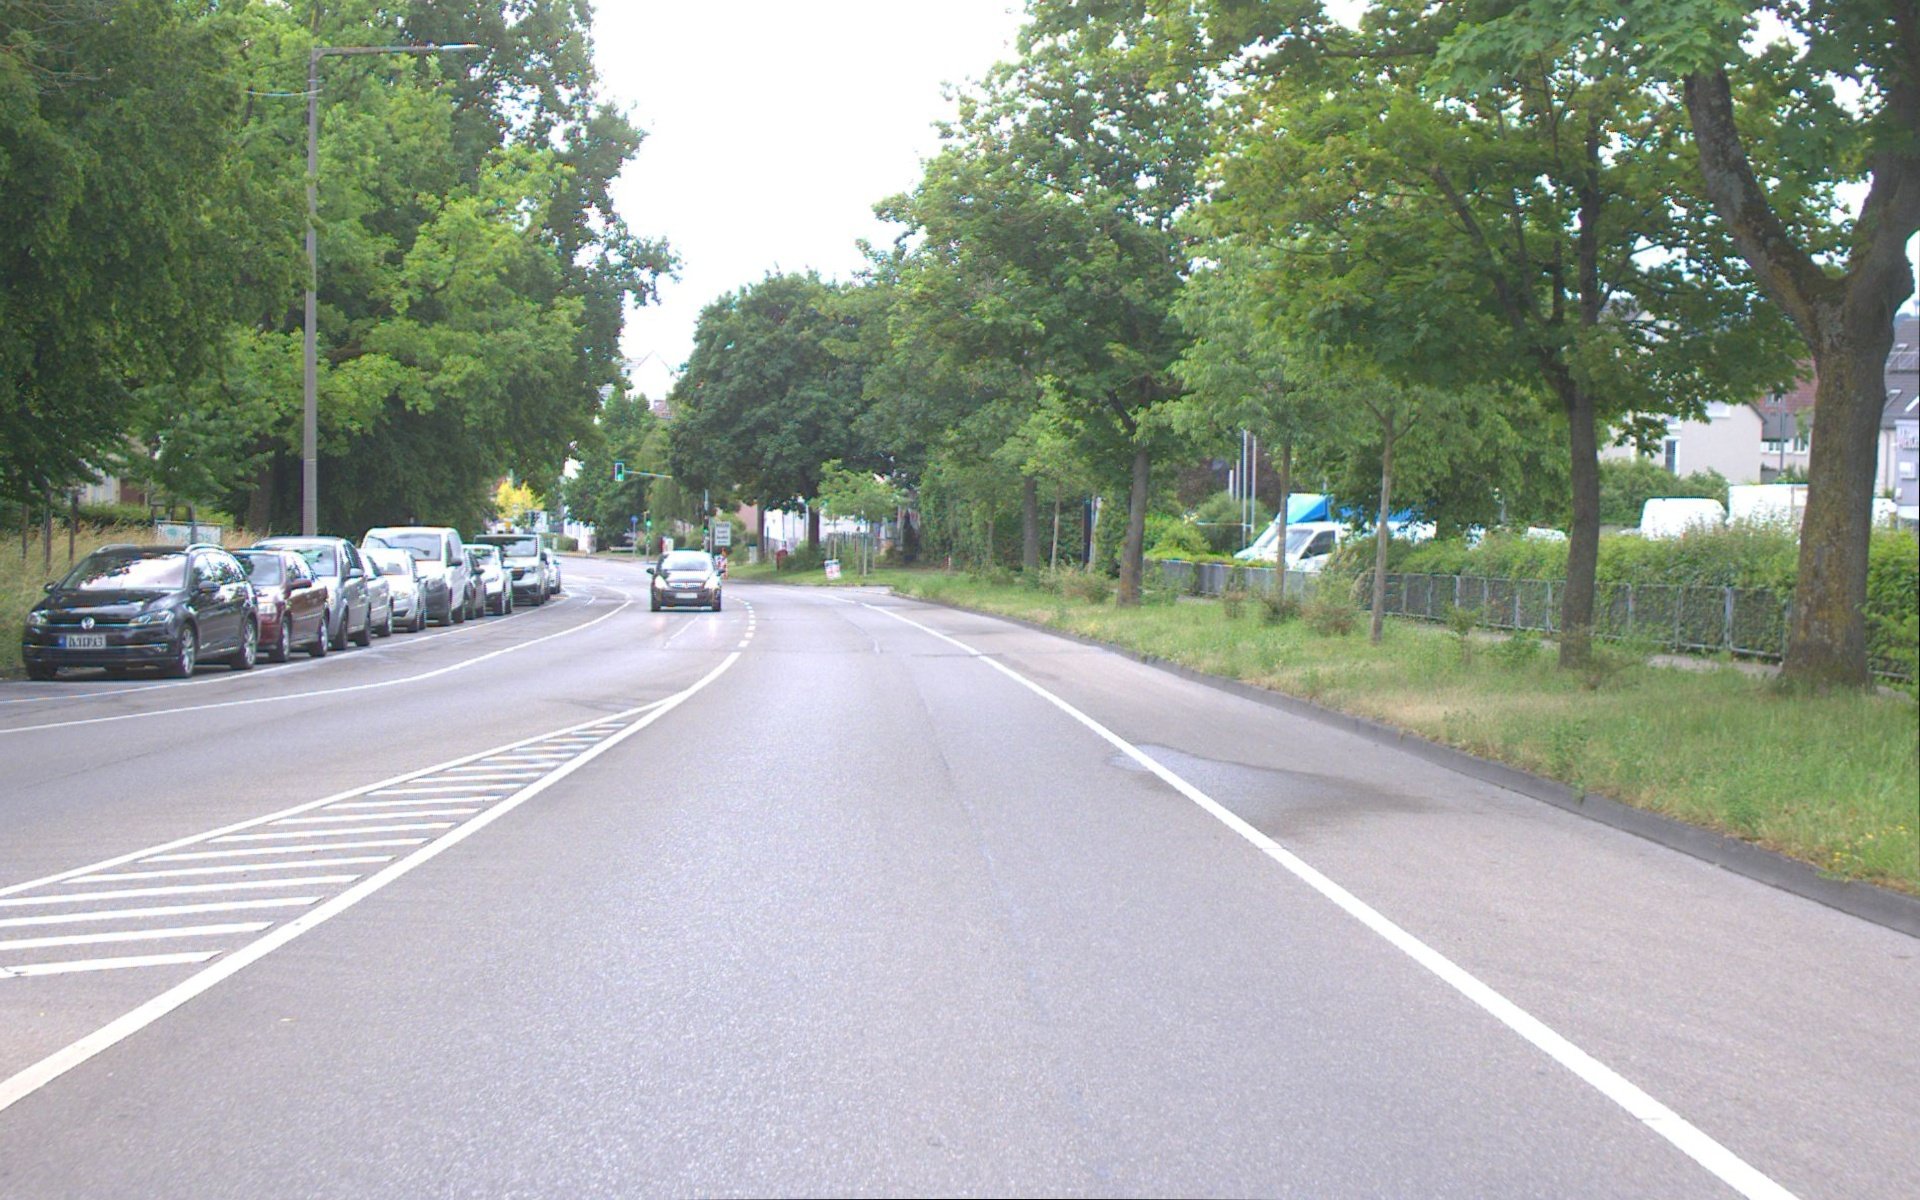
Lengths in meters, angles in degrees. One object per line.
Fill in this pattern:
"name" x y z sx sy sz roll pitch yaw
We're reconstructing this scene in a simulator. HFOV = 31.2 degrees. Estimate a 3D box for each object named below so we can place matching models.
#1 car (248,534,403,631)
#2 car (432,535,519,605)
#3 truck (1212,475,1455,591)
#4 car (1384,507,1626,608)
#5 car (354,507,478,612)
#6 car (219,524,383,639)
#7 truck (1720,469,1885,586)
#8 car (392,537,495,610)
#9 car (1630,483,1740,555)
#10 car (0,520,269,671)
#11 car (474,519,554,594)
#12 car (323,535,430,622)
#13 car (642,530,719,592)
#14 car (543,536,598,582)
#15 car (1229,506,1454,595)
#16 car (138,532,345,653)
"car" -10.323 -0.319 56.225 1.768 1.490 4.357 -1 1 -1
"car" -10.990 -0.692 78.138 1.673 1.559 4.282 0 1 -4
"truck" 11.520 -2.059 105.997 7.162 3.465 2.619 0 1 -27
"car" 12.550 -0.979 79.134 5.244 2.180 2.072 1 1 -28
"car" -10.550 -0.826 66.992 1.768 1.924 5.156 1 1 -2
"car" -9.450 -0.300 49.543 1.768 1.586 4.135 0 1 -3
"truck" 26.405 -2.244 108.247 2.853 3.447 9.541 1 1 1
"car" -10.898 -0.571 72.710 1.673 1.483 4.045 -1 1 -2
"car" 28.746 -3.245 136.246 2.260 2.667 5.439 2 4 36
"car" -9.228 -0.088 38.666 1.875 1.565 4.651 1 1 1
"car" -11.997 -1.170 92.760 1.866 1.957 5.128 0 1 -4
"car" -10.338 -0.401 61.100 1.634 1.428 3.951 1 1 -7
"car" -6.801 -0.944 83.820 1.637 1.462 4.000 -1 1 -1
"car" -13.569 -1.429 119.927 1.767 1.567 4.760 0 1 -5
"car" 10.878 -1.400 97.992 6.009 2.359 2.363 1 1 -26
"car" -9.132 -0.131 43.988 1.768 1.442 4.150 0 1 0
